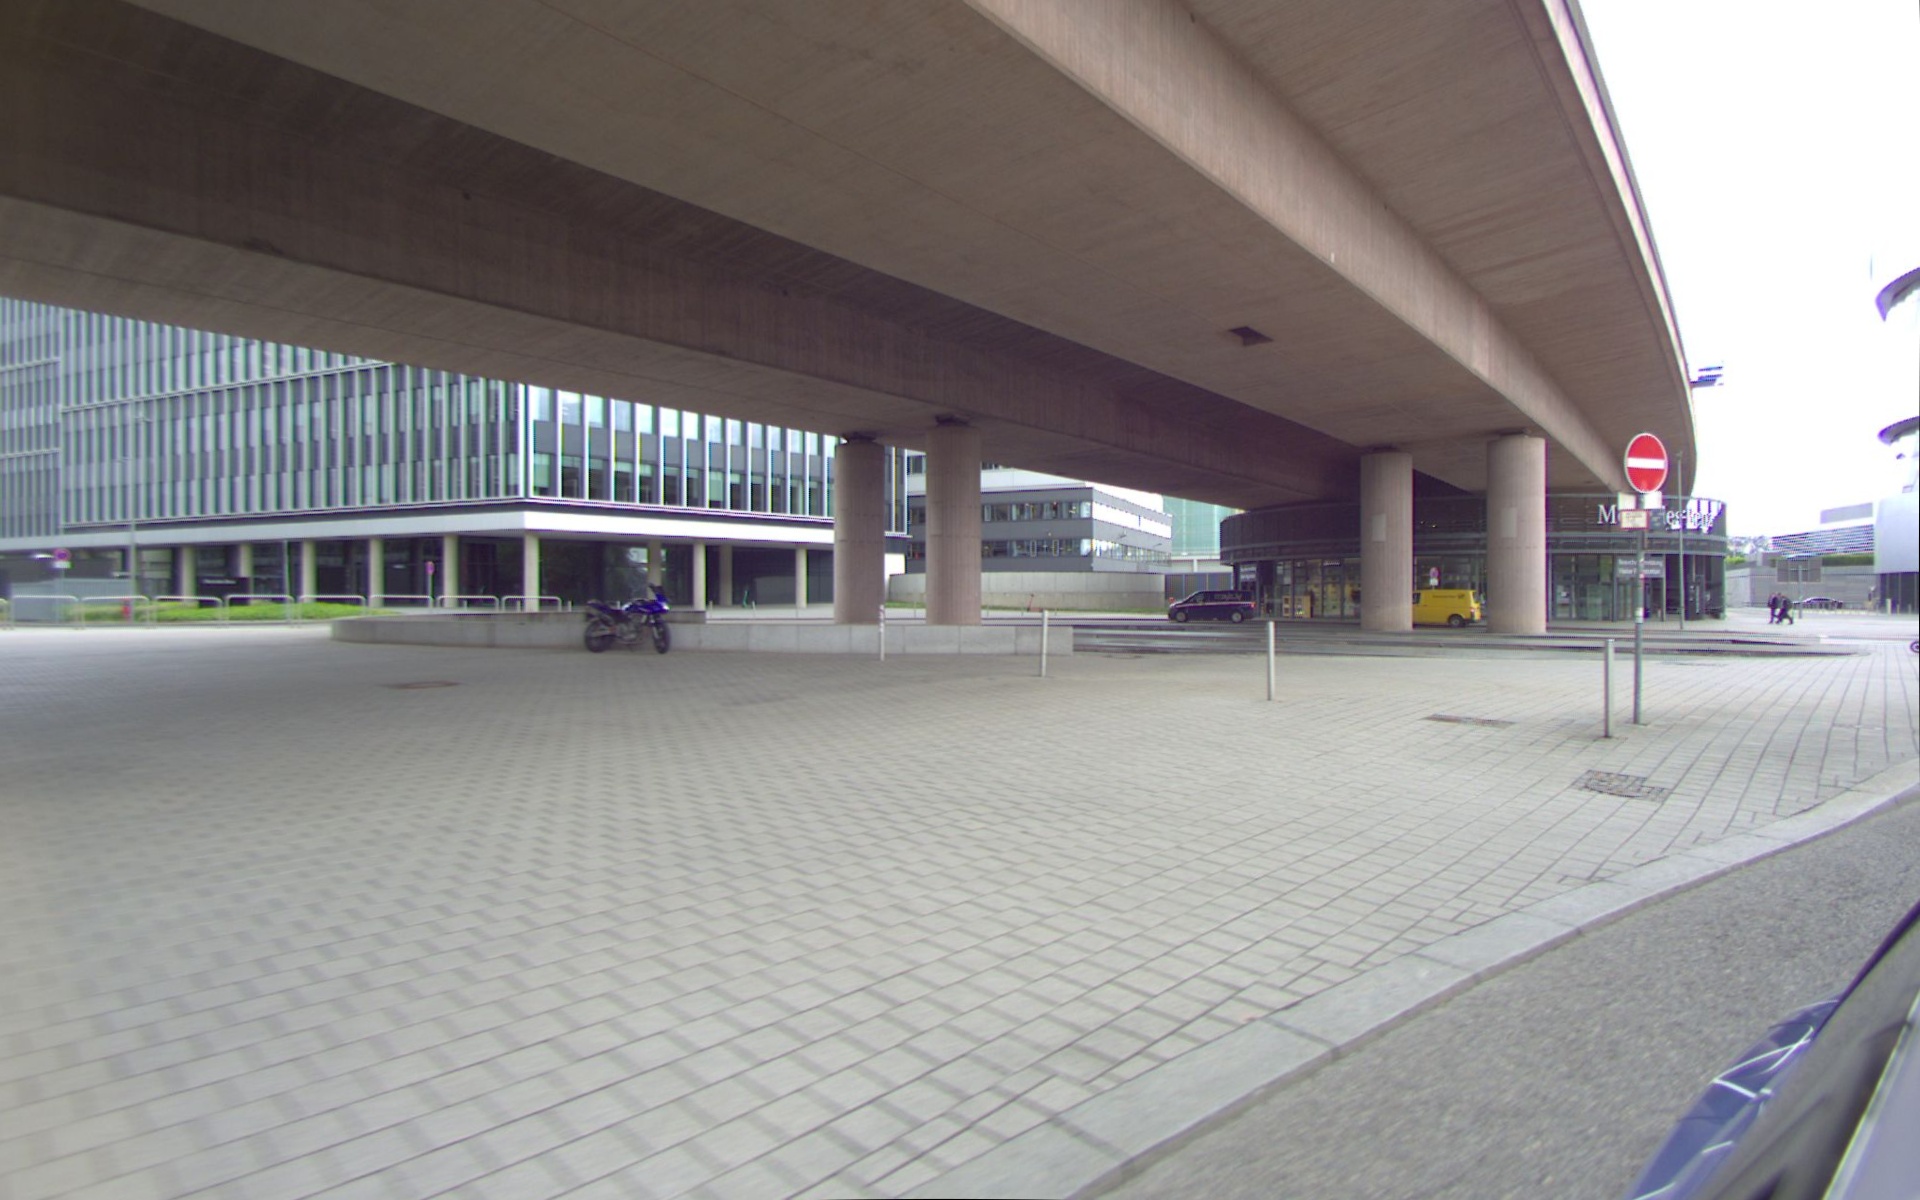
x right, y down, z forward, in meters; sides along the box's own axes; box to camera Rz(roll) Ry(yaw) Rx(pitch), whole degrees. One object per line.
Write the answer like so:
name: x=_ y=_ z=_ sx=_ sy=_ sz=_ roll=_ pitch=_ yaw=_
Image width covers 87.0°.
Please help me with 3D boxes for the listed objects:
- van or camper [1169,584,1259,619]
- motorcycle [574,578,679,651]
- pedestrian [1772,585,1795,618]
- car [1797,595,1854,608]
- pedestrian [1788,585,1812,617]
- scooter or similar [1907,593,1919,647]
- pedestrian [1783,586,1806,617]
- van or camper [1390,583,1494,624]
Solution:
van or camper: x=14.745 y=0.091 z=58.701 sx=4.841 sy=1.917 sz=2.139 roll=1 pitch=-1 yaw=21
motorcycle: x=-6.163 y=0.256 z=18.676 sx=1.918 sy=1.280 sz=0.544 roll=1 pitch=-1 yaw=22
pedestrian: x=46.147 y=0.074 z=56.733 sx=0.775 sy=1.821 sz=0.858 roll=1 pitch=-1 yaw=25
car: x=101.139 y=0.164 z=118.267 sx=4.873 sy=1.416 sz=1.516 roll=1 pitch=-1 yaw=34
pedestrian: x=45.664 y=0.053 z=55.016 sx=0.763 sy=1.727 sz=0.859 roll=1 pitch=-1 yaw=21
scooter or similar: x=23.591 y=0.496 z=23.952 sx=0.508 sy=1.312 sz=1.650 roll=2 pitch=-1 yaw=-31
pedestrian: x=46.018 y=0.083 z=55.799 sx=0.764 sy=1.727 sz=0.781 roll=1 pitch=-1 yaw=22
van or camper: x=25.136 y=0.149 z=52.799 sx=4.485 sy=2.024 sz=2.327 roll=1 pitch=0 yaw=41
